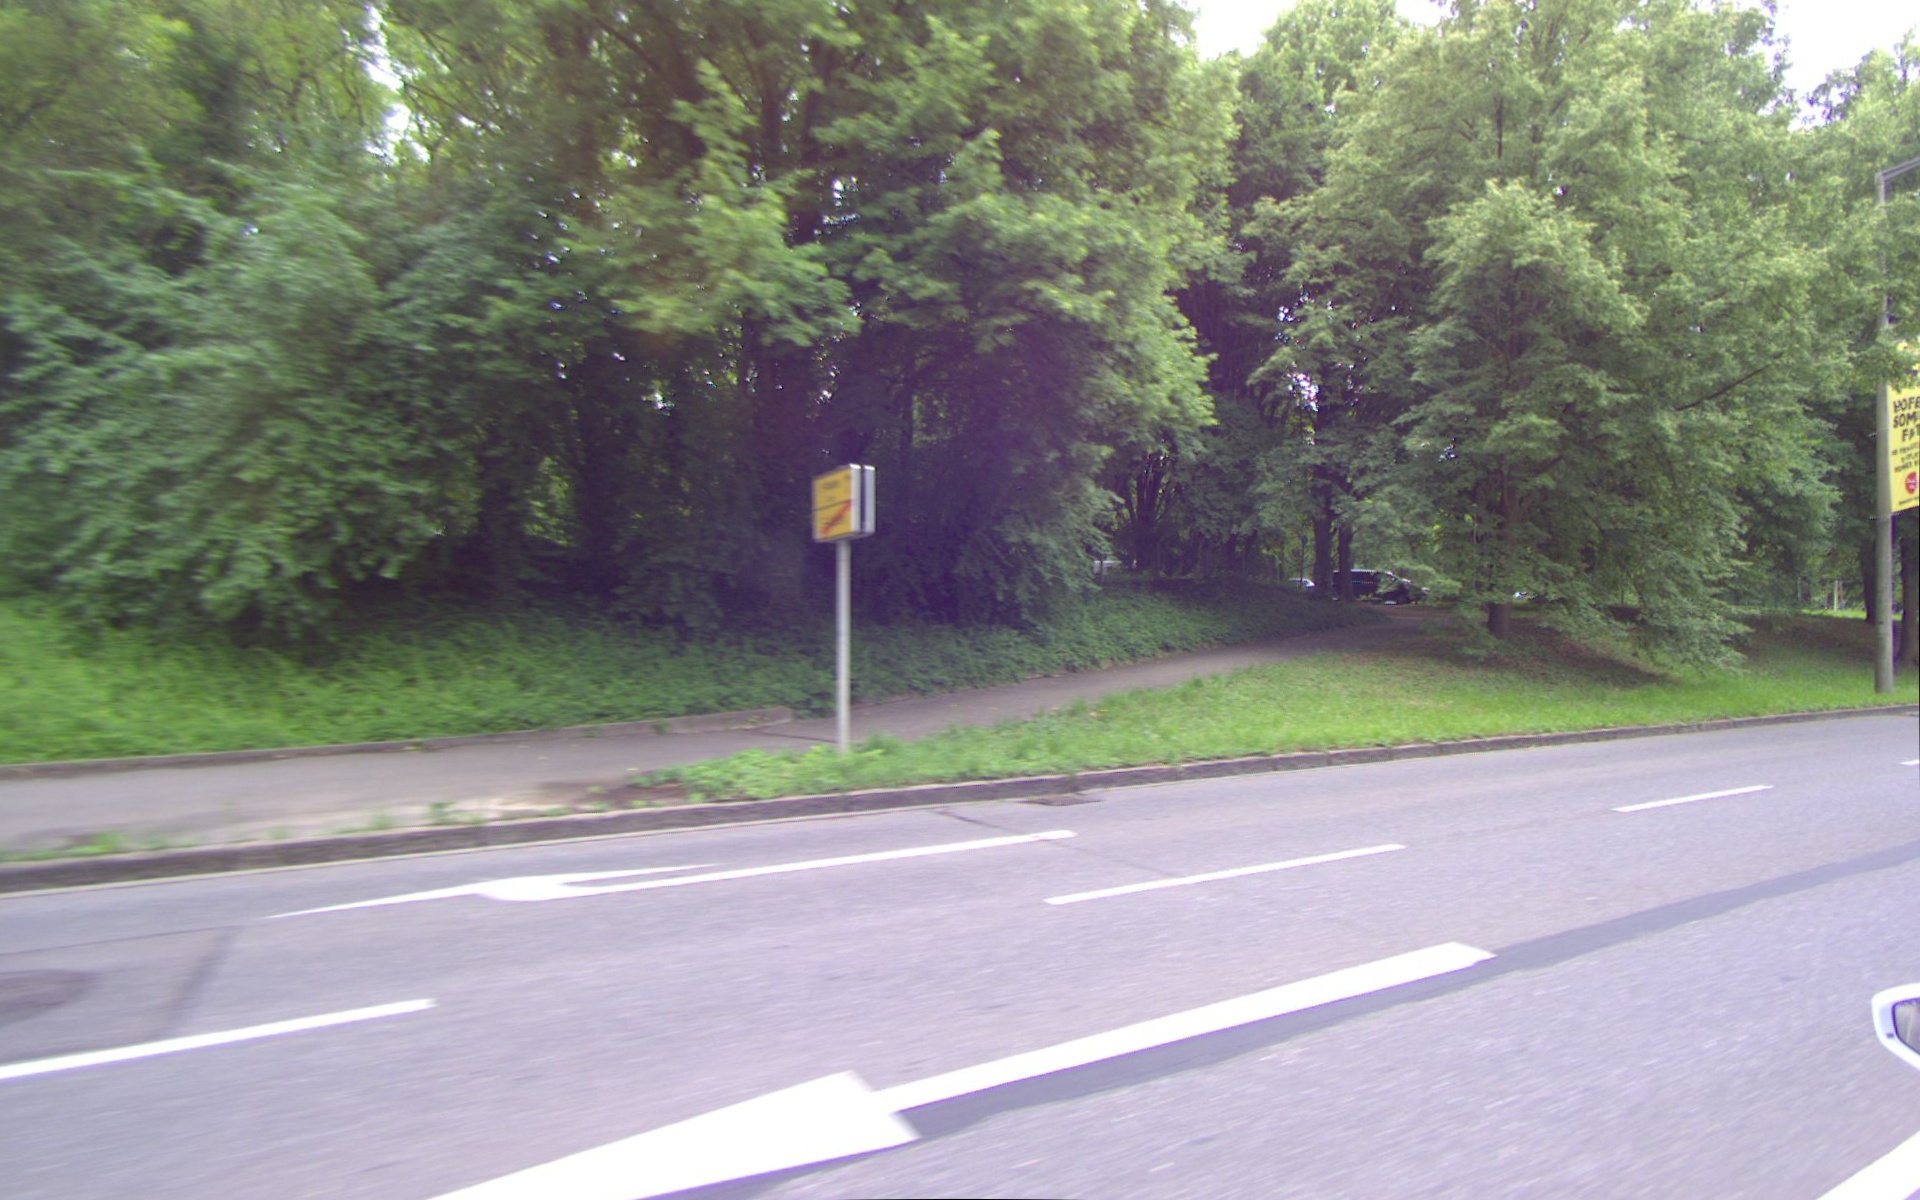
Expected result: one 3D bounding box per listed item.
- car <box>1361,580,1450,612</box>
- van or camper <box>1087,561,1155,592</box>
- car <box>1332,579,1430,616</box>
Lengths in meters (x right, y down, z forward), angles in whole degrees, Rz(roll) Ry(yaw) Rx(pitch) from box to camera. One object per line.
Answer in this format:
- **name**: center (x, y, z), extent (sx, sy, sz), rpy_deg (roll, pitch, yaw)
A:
- **car**: center (28.389, -0.264, 64.016), extent (4.821, 1.921, 2.315), rpy_deg (2, 0, 33)
- **van or camper**: center (11.013, -1.608, 68.921), extent (4.158, 2.040, 1.916), rpy_deg (2, 0, 40)
- **car**: center (23.862, -0.153, 56.937), extent (4.821, 1.921, 1.995), rpy_deg (2, 0, 33)
